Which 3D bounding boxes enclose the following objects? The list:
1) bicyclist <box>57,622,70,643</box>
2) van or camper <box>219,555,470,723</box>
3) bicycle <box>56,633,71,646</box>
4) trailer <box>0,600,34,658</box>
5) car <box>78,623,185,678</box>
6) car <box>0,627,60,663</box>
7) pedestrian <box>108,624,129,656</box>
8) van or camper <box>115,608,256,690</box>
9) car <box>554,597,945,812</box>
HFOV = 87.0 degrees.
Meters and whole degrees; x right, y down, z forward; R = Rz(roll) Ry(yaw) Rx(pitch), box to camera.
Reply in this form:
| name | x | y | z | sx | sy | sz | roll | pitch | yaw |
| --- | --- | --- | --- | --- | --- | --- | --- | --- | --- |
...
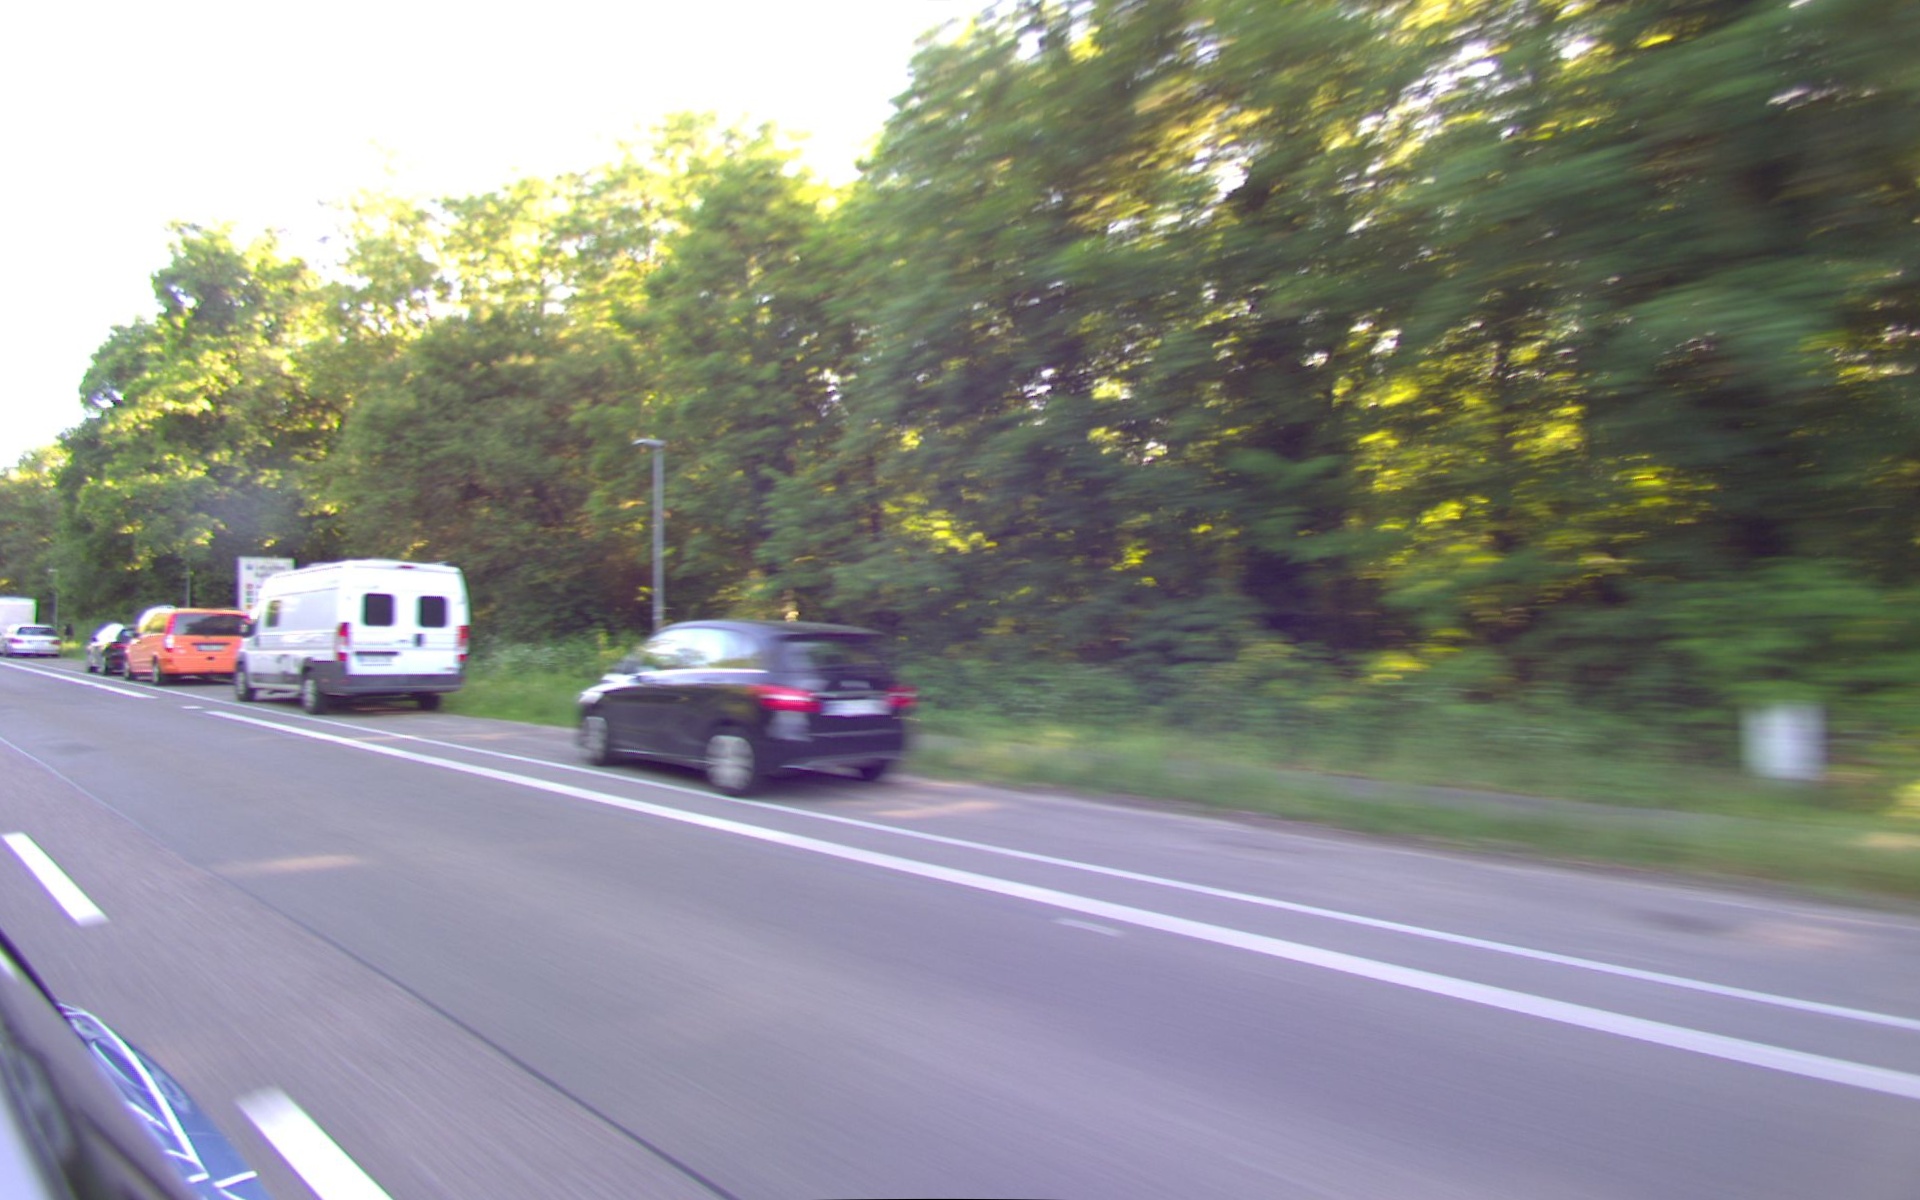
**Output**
| name | x | y | z | sx | sy | sz | roll | pitch | yaw |
| --- | --- | --- | --- | --- | --- | --- | --- | --- | --- |
| bicyclist | -54.436 | 1.991 | 61.456 | 0.973 | 1.244 | 0.482 | -1 | -1 | 41 |
| van or camper | -11.502 | 0.677 | 18.637 | 6.539 | 2.592 | 2.098 | -1 | -2 | 42 |
| bicycle | -54.487 | 2.392 | 61.502 | 1.486 | 0.718 | 0.516 | -1 | -1 | 41 |
| trailer | -45.284 | 1.356 | 47.625 | 4.413 | 2.617 | 1.972 | -1 | -4 | 41 |
| car | -24.216 | 1.451 | 29.529 | 4.322 | 1.489 | 1.713 | -1 | -3 | 42 |
| car | -40.075 | 1.880 | 43.271 | 4.623 | 1.465 | 1.779 | -1 | -3 | 41 |
| pedestrian | -43.020 | 2.043 | 51.726 | 0.700 | 1.579 | 0.706 | -2 | -1 | 41 |
| van or camper | -19.727 | 1.209 | 25.687 | 4.861 | 1.881 | 1.902 | -1 | -3 | 42 |
| car | -2.292 | 0.891 | 10.196 | 1.760 | 1.697 | 4.381 | 3 | -3 | -44 |
